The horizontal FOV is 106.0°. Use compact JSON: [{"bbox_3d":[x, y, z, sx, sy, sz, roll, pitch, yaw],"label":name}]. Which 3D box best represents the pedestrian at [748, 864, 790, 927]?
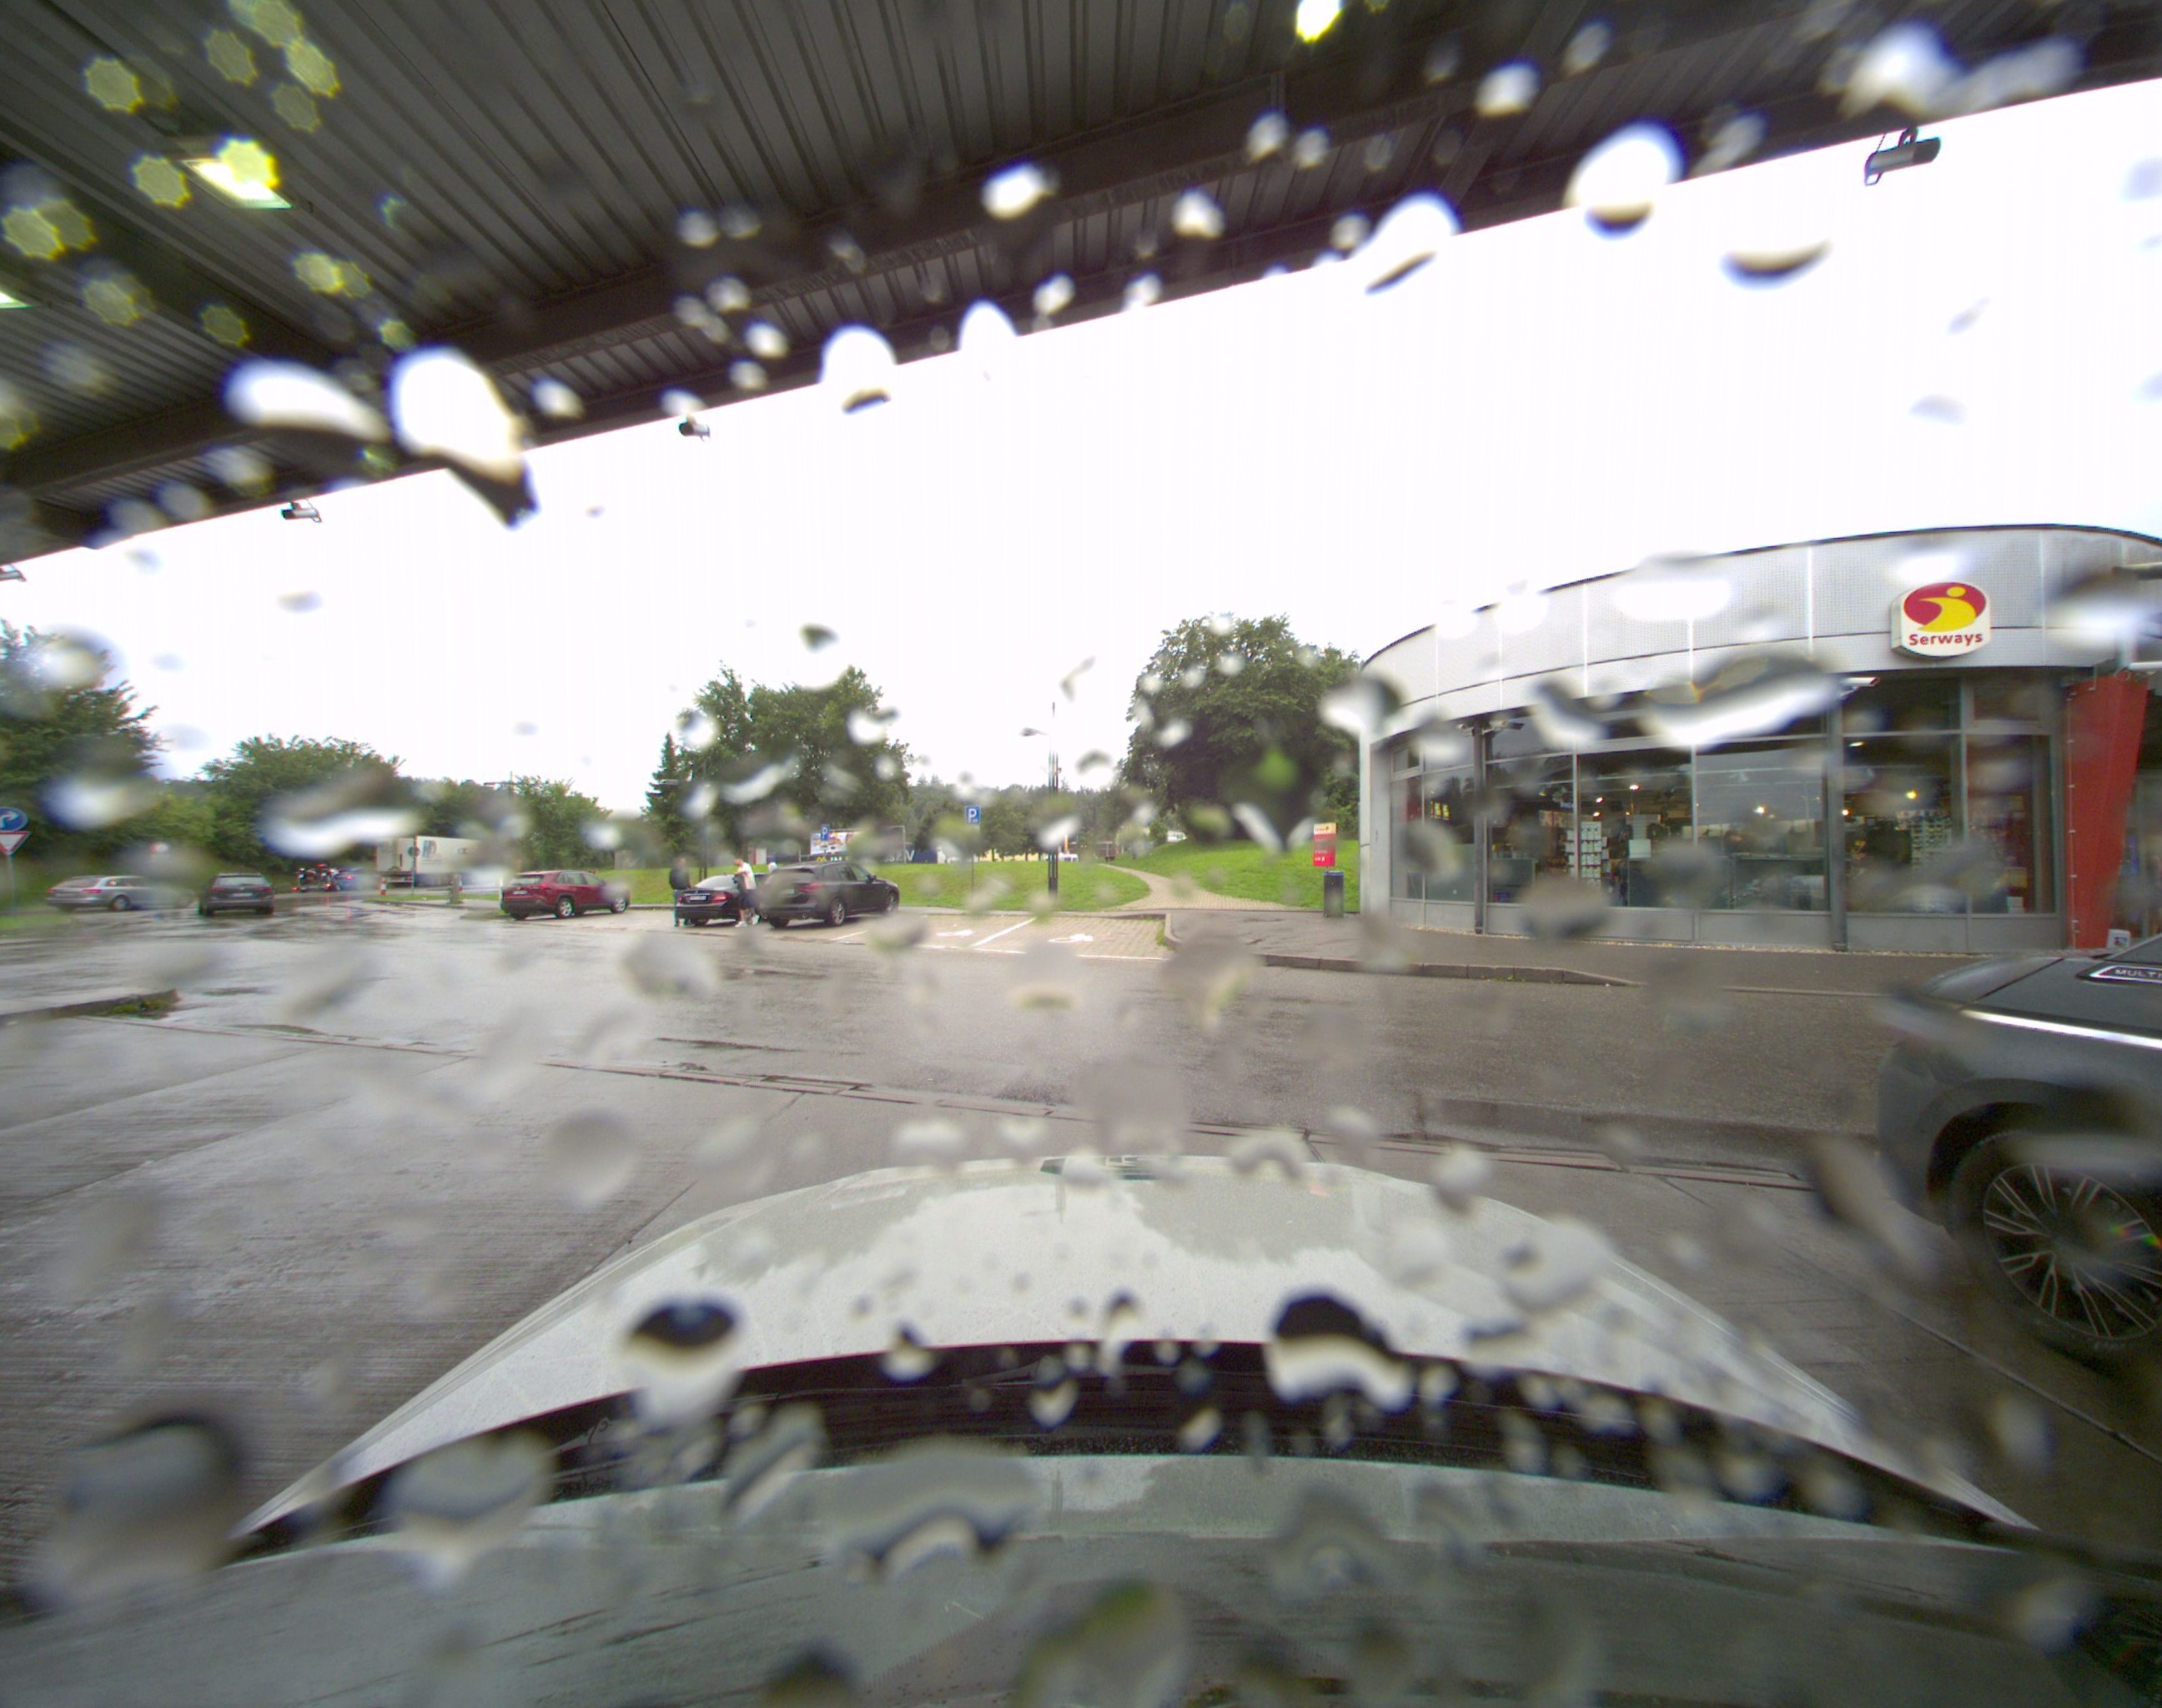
[{"bbox_3d":[-8.281,1.079,21.600,0.956,1.631,0.698,0,-1,-27],"label":"pedestrian"}]

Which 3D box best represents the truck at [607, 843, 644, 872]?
[{"bbox_3d":[-50.147,0.443,89.541,2.497,3.085,7.273,0,-1,-38],"label":"truck"}]

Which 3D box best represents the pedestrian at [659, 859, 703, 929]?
[{"bbox_3d":[-11.078,1.093,22.584,0.882,1.887,0.708,-1,-1,28],"label":"pedestrian"}]

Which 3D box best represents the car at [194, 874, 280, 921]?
[{"bbox_3d":[-33.454,1.684,32.275,3.948,1.678,2.013,-2,-1,39],"label":"car"}]

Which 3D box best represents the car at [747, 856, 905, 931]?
[{"bbox_3d":[-6.642,0.969,21.795,2.002,1.711,4.360,-2,0,14],"label":"car"}]

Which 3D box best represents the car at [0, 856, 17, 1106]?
[{"bbox_3d":[-7.962,0.801,2.691,1.854,1.608,5.273,0,0,2],"label":"car"}]

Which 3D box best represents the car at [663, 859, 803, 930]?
[{"bbox_3d":[-9.828,1.079,23.440,2.010,1.711,4.344,-2,0,1],"label":"car"}]

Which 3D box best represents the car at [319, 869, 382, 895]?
[{"bbox_3d":[-50.334,1.873,56.192,1.814,1.681,3.927,0,-1,-18],"label":"car"}]

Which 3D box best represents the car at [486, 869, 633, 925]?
[{"bbox_3d":[-18.130,1.438,28.608,1.928,1.644,4.352,-2,0,7],"label":"car"}]

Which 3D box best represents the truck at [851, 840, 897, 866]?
[{"bbox_3d":[-24.172,-0.093,95.472,2.165,2.920,5.419,-1,-1,27],"label":"truck"}]

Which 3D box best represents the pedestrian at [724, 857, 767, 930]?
[{"bbox_3d":[-8.860,1.017,21.553,0.952,1.887,0.700,0,-1,-15],"label":"pedestrian"}]

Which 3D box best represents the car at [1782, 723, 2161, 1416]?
[{"bbox_3d":[3.679,0.543,0.692,1.854,1.798,5.142,0,-1,2],"label":"car"}]

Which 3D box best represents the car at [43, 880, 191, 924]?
[{"bbox_3d":[-39.619,1.930,33.649,1.772,1.628,3.986,-1,-1,-10],"label":"car"}]

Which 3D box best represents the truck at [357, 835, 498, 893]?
[{"bbox_3d":[-55.434,0.832,69.996,3.550,4.340,16.899,0,-1,-18],"label":"truck"}]

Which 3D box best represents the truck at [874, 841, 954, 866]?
[{"bbox_3d":[-20.739,-0.062,102.363,2.165,2.920,13.175,-1,-1,26],"label":"truck"}]

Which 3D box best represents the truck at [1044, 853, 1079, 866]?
[{"bbox_3d":[-3.232,0.871,134.120,5.356,2.014,2.381,-1,-1,26],"label":"truck"}]
